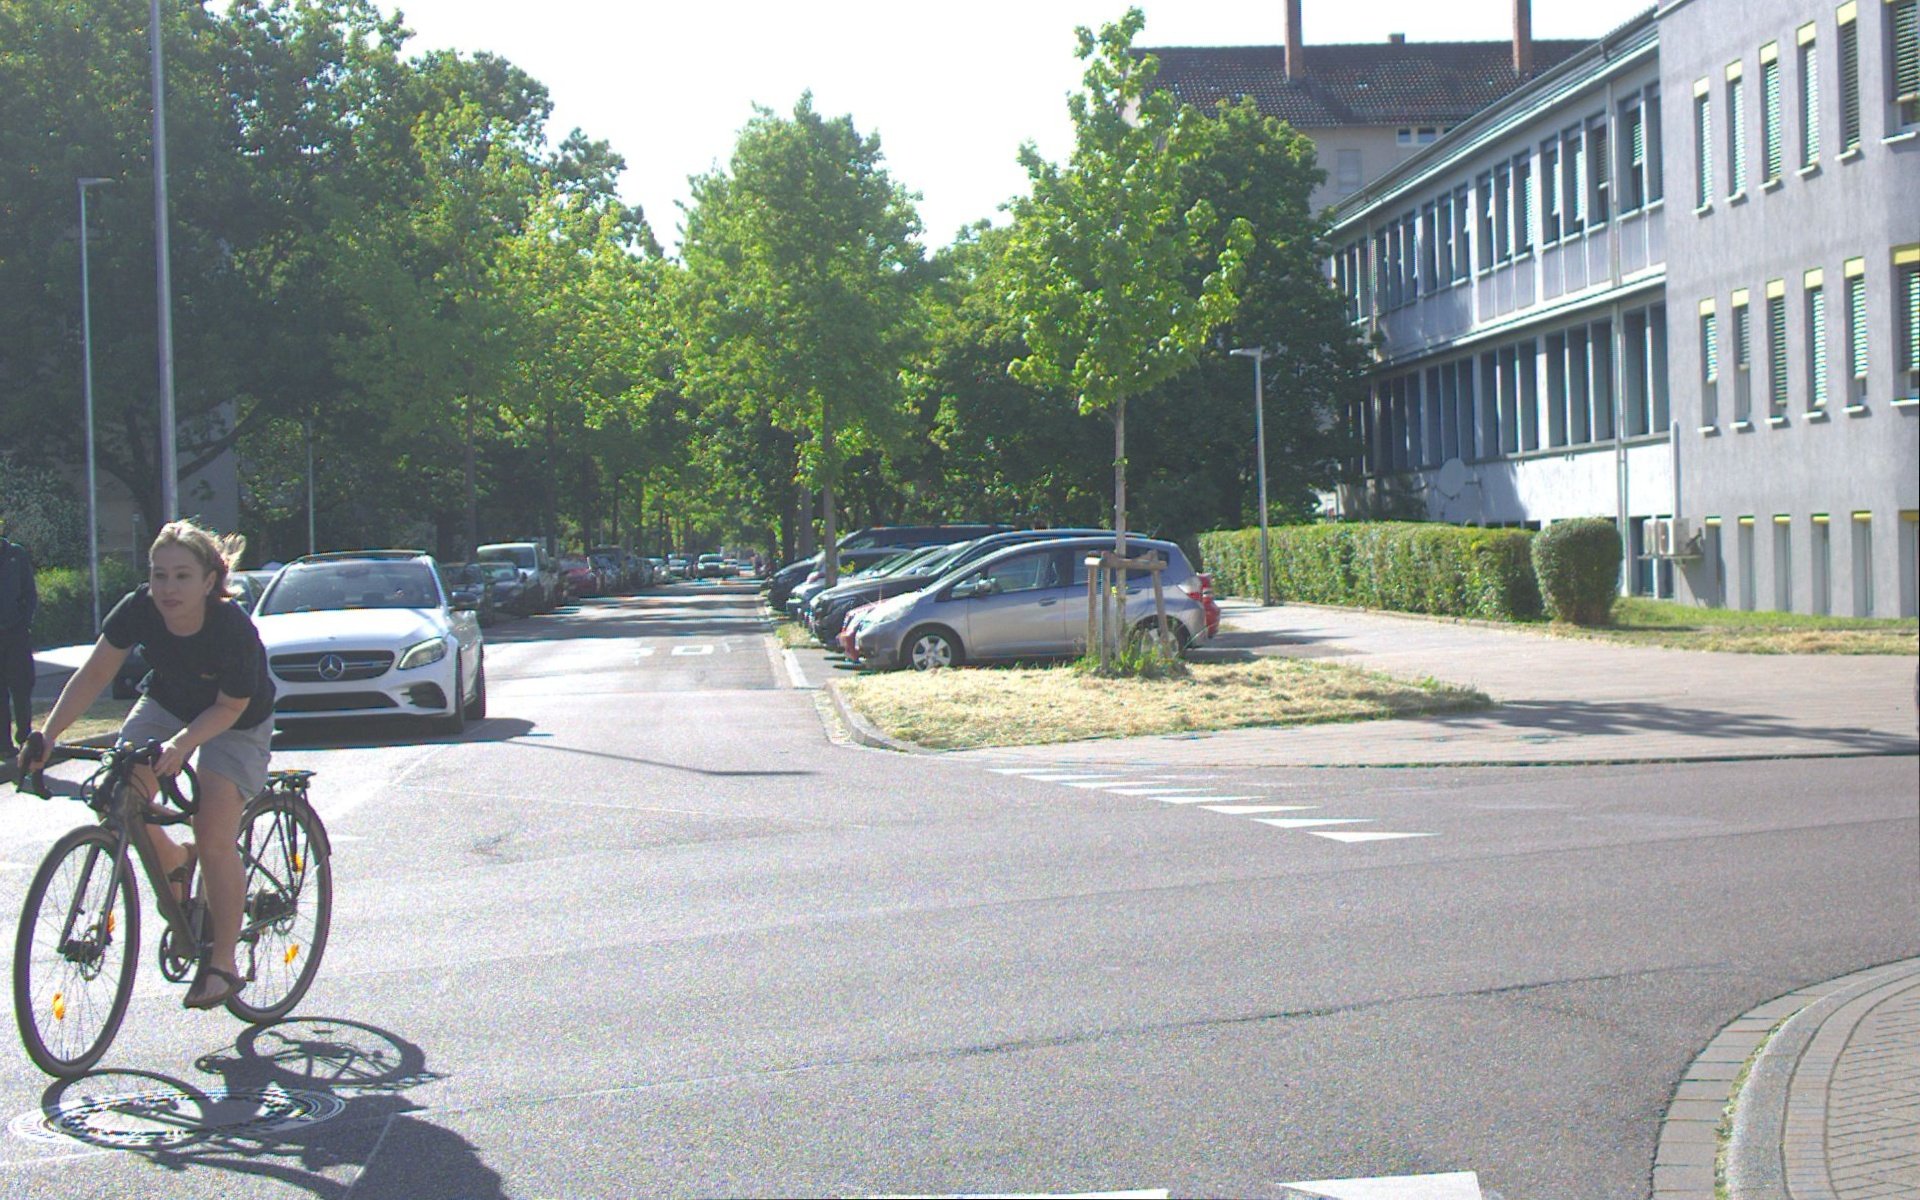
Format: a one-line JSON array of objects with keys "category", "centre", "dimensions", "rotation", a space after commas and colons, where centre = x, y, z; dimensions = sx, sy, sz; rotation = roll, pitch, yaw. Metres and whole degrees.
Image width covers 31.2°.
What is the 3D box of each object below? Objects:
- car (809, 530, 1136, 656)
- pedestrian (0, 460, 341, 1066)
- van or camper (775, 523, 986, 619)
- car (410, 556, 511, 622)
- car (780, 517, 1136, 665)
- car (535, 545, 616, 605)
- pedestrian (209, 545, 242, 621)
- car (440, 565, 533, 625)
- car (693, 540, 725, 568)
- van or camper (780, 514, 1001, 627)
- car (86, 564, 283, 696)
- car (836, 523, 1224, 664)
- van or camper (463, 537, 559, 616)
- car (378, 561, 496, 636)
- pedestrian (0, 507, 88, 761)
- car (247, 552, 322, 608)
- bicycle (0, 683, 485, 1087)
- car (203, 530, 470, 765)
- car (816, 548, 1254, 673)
[{"category": "car", "centre": [0.127, -0.090, 46.077], "dimensions": [4.203, 1.590, 2.000], "rotation": [1, 0, -5]}, {"category": "pedestrian", "centre": [-2.241, 0.439, 9.857], "dimensions": [0.690, 1.634, 1.046], "rotation": [1, 0, 2]}, {"category": "van or camper", "centre": [-1.564, -0.554, 66.408], "dimensions": [3.986, 1.766, 2.000], "rotation": [1, 0, -4]}, {"category": "car", "centre": [-10.999, -0.251, 75.887], "dimensions": [1.993, 1.403, 3.909], "rotation": [1, 0, -6]}, {"category": "car", "centre": [-0.065, -0.110, 43.242], "dimensions": [4.278, 1.758, 2.000], "rotation": [1, 0, -5]}, {"category": "car", "centre": [-13.080, -0.847, 117.254], "dimensions": [1.994, 2.007, 3.999], "rotation": [1, 0, 4]}, {"category": "pedestrian", "centre": [-16.157, -0.378, 75.672], "dimensions": [0.634, 1.659, 0.700], "rotation": [-1, 1, -9]}, {"category": "car", "centre": [-11.507, -0.128, 83.730], "dimensions": [1.842, 1.393, 4.000], "rotation": [-1, 0, -3]}, {"category": "car", "centre": [-16.202, -2.979, 222.196], "dimensions": [1.993, 1.741, 4.001], "rotation": [-1, 1, -4]}, {"category": "van or camper", "centre": [-1.319, -0.540, 63.783], "dimensions": [3.986, 2.007, 2.000], "rotation": [1, 0, -4]}, {"category": "car", "centre": [-8.782, 0.315, 39.189], "dimensions": [1.667, 1.415, 4.001], "rotation": [1, 0, -5]}, {"category": "car", "centre": [0.741, -0.083, 38.041], "dimensions": [4.088, 1.487, 1.729], "rotation": [-1, 0, -6]}, {"category": "van or camper", "centre": [-11.706, -0.596, 89.854], "dimensions": [1.993, 2.007, 4.000], "rotation": [1, 0, -1]}, {"category": "car", "centre": [-10.203, -0.043, 67.268], "dimensions": [1.842, 1.393, 4.000], "rotation": [-1, 0, -3]}, {"category": "pedestrian", "centre": [-6.555, 0.225, 23.748], "dimensions": [0.870, 1.708, 0.980], "rotation": [-1, 1, -7]}, {"category": "car", "centre": [-15.849, -0.480, 80.729], "dimensions": [1.274, 1.221, 2.663], "rotation": [-2, 1, -1]}, {"category": "bicycle", "centre": [-2.116, 0.775, 10.050], "dimensions": [0.549, 1.008, 1.917], "rotation": [-1, 0, 22]}, {"category": "car", "centre": [-4.936, 0.298, 27.515], "dimensions": [1.885, 1.499, 4.640], "rotation": [-2, 3, -9]}, {"category": "car", "centre": [0.838, 0.113, 40.089], "dimensions": [4.869, 1.270, 1.729], "rotation": [-2, 0, -7]}]
